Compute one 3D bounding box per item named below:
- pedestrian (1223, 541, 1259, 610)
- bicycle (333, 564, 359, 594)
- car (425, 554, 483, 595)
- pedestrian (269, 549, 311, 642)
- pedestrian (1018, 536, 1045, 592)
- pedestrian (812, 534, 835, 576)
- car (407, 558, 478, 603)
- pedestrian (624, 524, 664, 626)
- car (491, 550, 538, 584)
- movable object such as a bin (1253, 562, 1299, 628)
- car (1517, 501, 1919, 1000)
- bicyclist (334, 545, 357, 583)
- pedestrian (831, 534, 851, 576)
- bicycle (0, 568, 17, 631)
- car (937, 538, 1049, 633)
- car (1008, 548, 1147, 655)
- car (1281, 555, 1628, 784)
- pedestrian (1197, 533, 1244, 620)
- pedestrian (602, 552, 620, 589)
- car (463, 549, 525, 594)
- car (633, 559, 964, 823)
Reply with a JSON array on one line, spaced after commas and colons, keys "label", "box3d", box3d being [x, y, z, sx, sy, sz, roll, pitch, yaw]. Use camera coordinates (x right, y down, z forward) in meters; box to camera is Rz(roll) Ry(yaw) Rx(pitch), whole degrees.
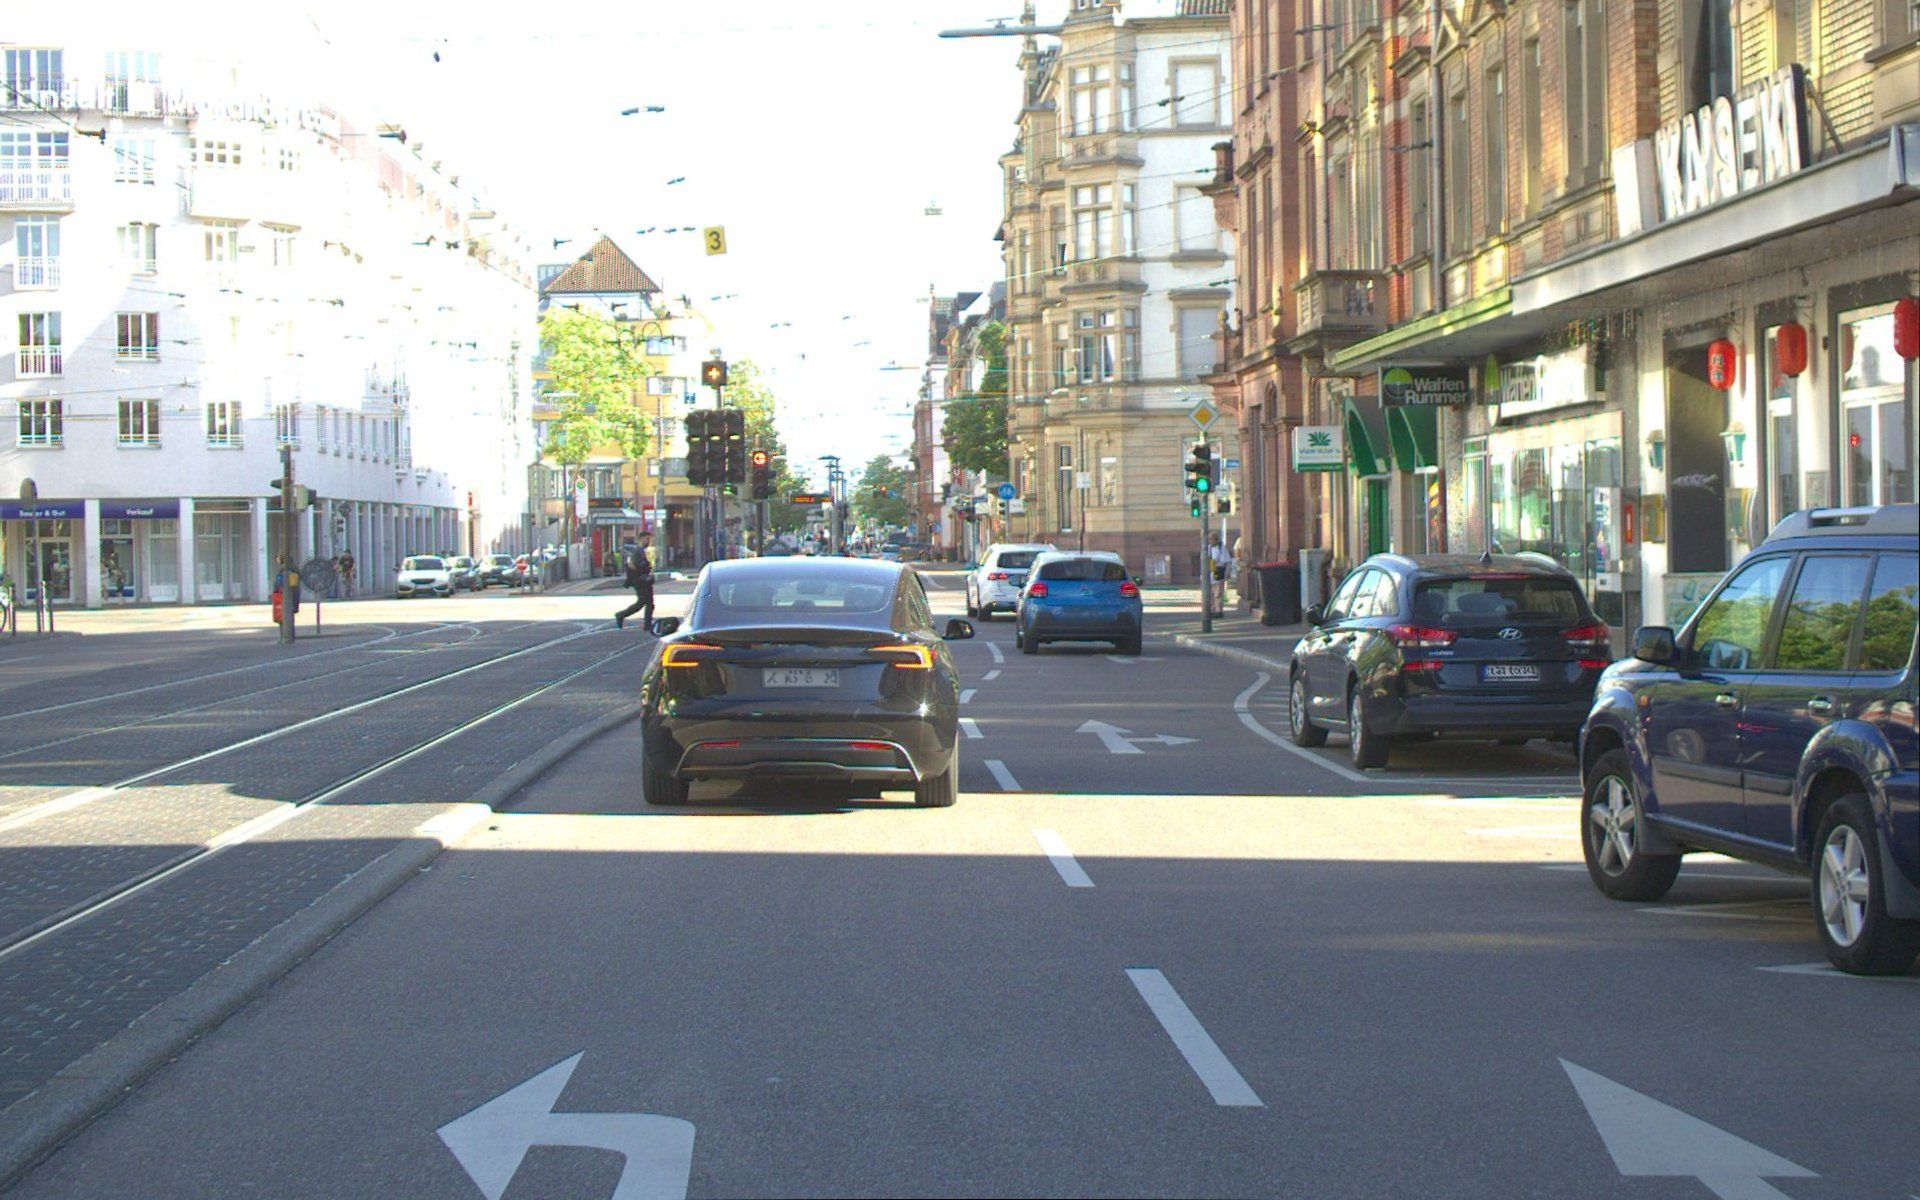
[{"label": "pedestrian", "box3d": [6.746, -0.590, 82.492, 0.701, 1.649, 0.631, -1, 0, 20]}, {"label": "bicycle", "box3d": [-20.709, -0.707, 115.947, 0.594, 0.969, 1.818, -1, 0, -1]}, {"label": "car", "box3d": [-20.477, -1.024, 139.334, 1.993, 1.590, 4.000, -1, 0, -4]}, {"label": "pedestrian", "box3d": [-11.250, -0.080, 57.732, 0.500, 1.512, 0.859, -2, 1, -2]}, {"label": "pedestrian", "box3d": [2.294, -1.166, 110.209, 0.779, 1.743, 1.093, 0, 3, -4]}, {"label": "pedestrian", "box3d": [-5.724, -1.895, 144.148, 0.718, 1.771, 0.564, 0, 1, 34]}, {"label": "car", "box3d": [-17.673, -0.673, 117.546, 1.993, 1.446, 4.503, -1, 1, -3]}, {"label": "pedestrian", "box3d": [-5.545, -0.444, 60.361, 0.558, 1.757, 0.895, -2, 1, -2]}, {"label": "car", "box3d": [-20.136, -1.495, 155.453, 1.728, 1.509, 4.405, 0, 1, -3]}, {"label": "movable object such as a bin", "box3d": [5.396, -0.088, 58.700, 0.663, 1.069, 0.591, -4, 1, 1]}, {"label": "car", "box3d": [3.810, 0.500, 13.951, 1.690, 1.707, 4.617, 1, 1, -9]}, {"label": "bicyclist", "box3d": [-20.712, -1.204, 115.864, 0.588, 1.281, 0.927, -1, 0, -1]}, {"label": "pedestrian", "box3d": [-4.806, -1.826, 139.079, 0.636, 1.692, 0.933, 1, 0, 6]}, {"label": "bicycle", "box3d": [-18.272, -0.005, 64.786, 0.497, 1.182, 2.236, -1, 1, -3]}, {"label": "car", "box3d": [0.613, -0.267, 66.215, 1.993, 1.737, 4.000, 1, 0, -1]}, {"label": "car", "box3d": [1.664, -0.004, 49.893, 1.781, 1.446, 3.654, 1, 1, -1]}, {"label": "car", "box3d": [3.437, 0.425, 24.646, 1.690, 1.446, 4.360, 1, 1, -2]}, {"label": "pedestrian", "box3d": [4.821, -0.437, 63.685, 0.681, 1.602, 0.731, -1, 1, -10]}, {"label": "pedestrian", "box3d": [-14.869, -1.259, 146.519, 0.731, 1.522, 0.743, 0, 2, -3]}, {"label": "car", "box3d": [-20.214, -1.268, 149.351, 2.227, 1.904, 4.609, 0, 1, -3]}, {"label": "car", "box3d": [-0.968, 0.482, 21.124, 1.810, 1.419, 4.154, 1, 1, -2]}]
